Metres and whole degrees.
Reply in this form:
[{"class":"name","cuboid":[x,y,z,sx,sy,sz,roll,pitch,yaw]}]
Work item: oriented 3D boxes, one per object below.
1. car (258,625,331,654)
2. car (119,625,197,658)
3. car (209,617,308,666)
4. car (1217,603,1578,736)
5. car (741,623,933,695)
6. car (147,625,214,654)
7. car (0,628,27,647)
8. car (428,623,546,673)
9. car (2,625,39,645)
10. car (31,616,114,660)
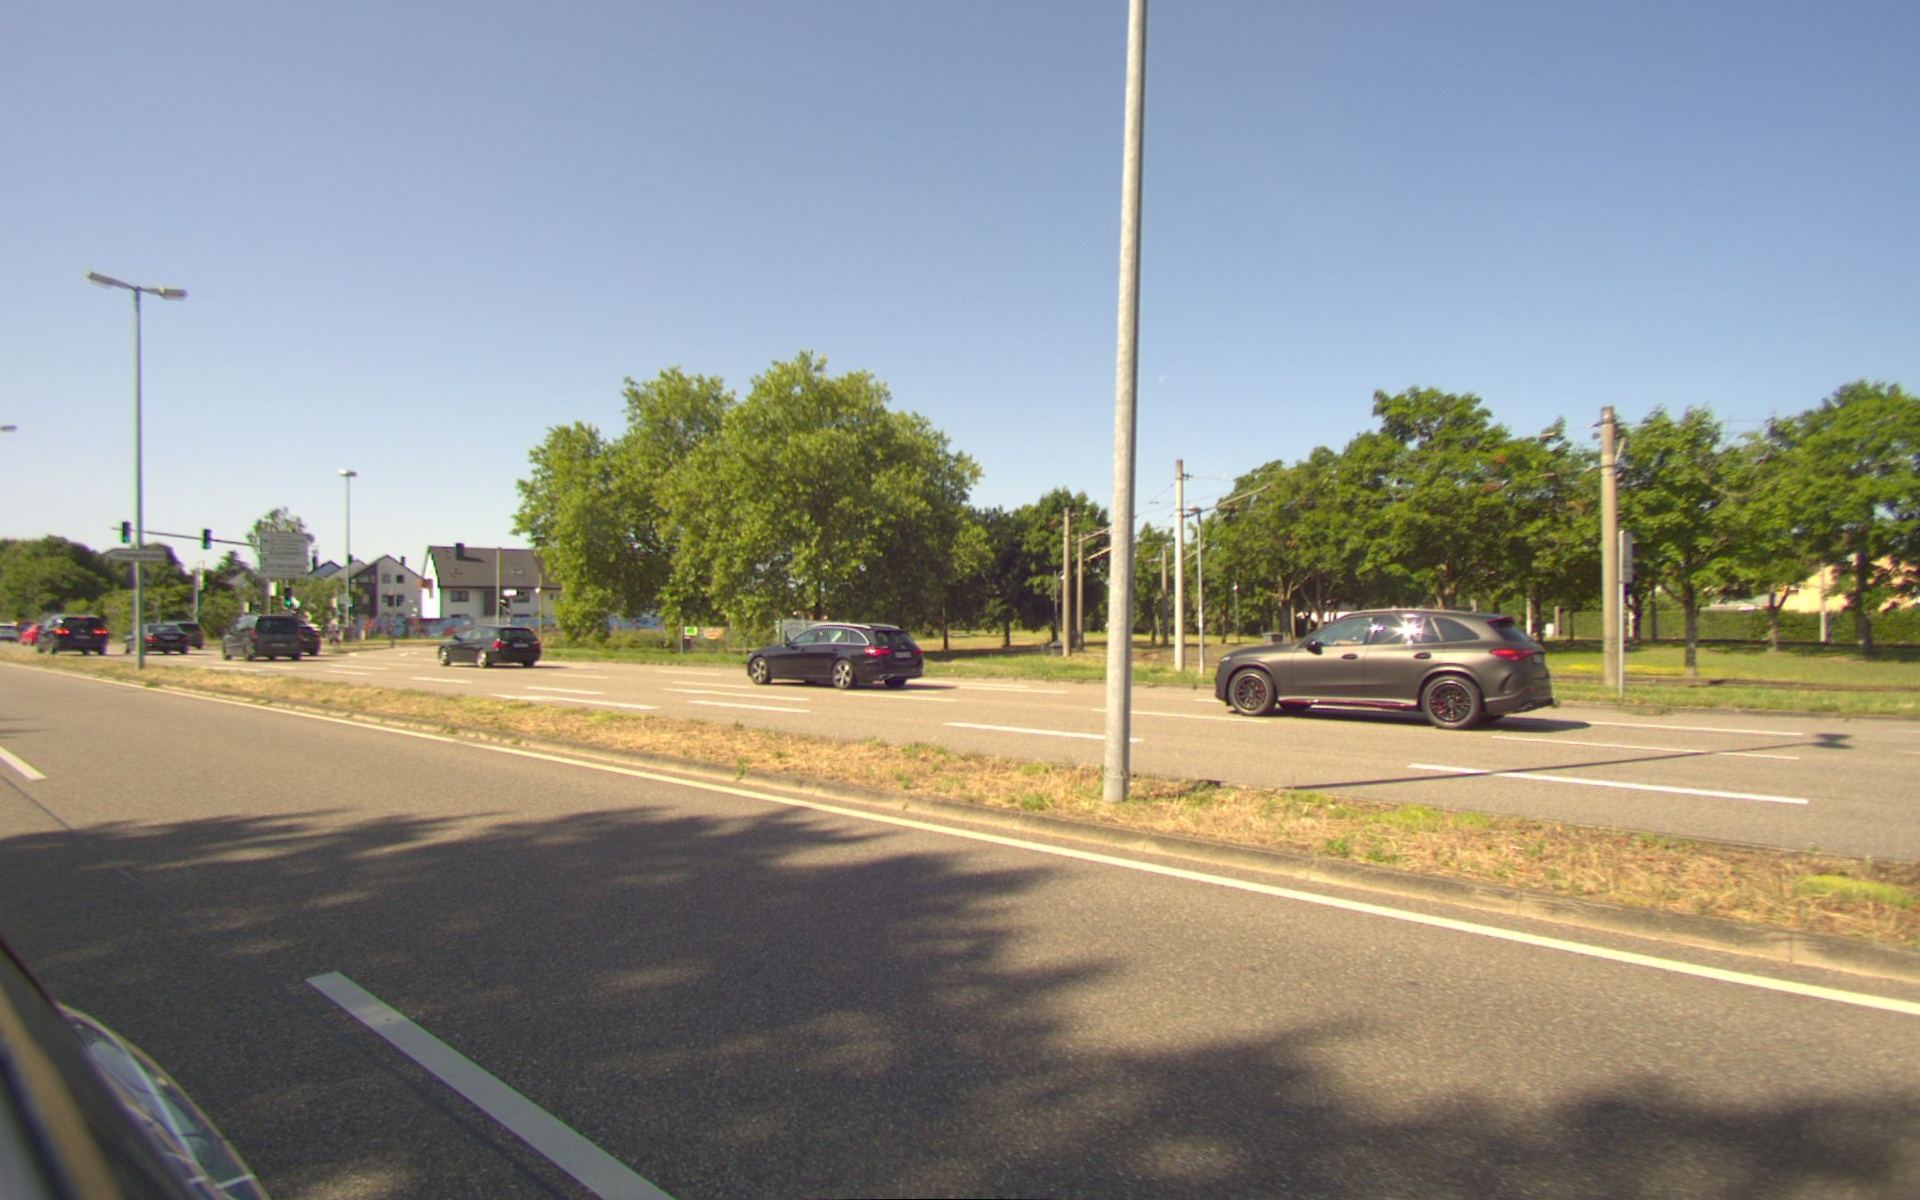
[{"class":"car","cuboid":[-36.915,2.170,56.082,4.679,1.540,2.051,-1,-2,39]},{"class":"car","cuboid":[-37.274,1.918,46.987,4.446,1.468,1.961,-1,-3,40]},{"class":"car","cuboid":[-27.081,1.565,39.010,4.484,1.793,1.962,-1,-2,39]},{"class":"car","cuboid":[6.343,0.947,14.998,4.552,1.672,1.962,-1,-3,41]},{"class":"car","cuboid":[-2.870,1.282,23.085,4.466,1.476,1.812,-1,-2,40]},{"class":"car","cuboid":[-44.955,2.263,58.366,4.485,1.635,2.051,-1,-3,39]},{"class":"car","cuboid":[-73.963,2.880,78.492,3.838,1.397,1.811,-1,-2,39]},{"class":"car","cuboid":[-15.761,1.573,33.646,4.402,1.557,1.844,-1,-3,40]},{"class":"car","cuboid":[-85.498,3.144,92.061,4.221,1.783,1.689,-1,-3,36]},{"class":"car","cuboid":[-38.435,1.647,43.782,4.504,1.764,1.961,-1,-4,40]}]
